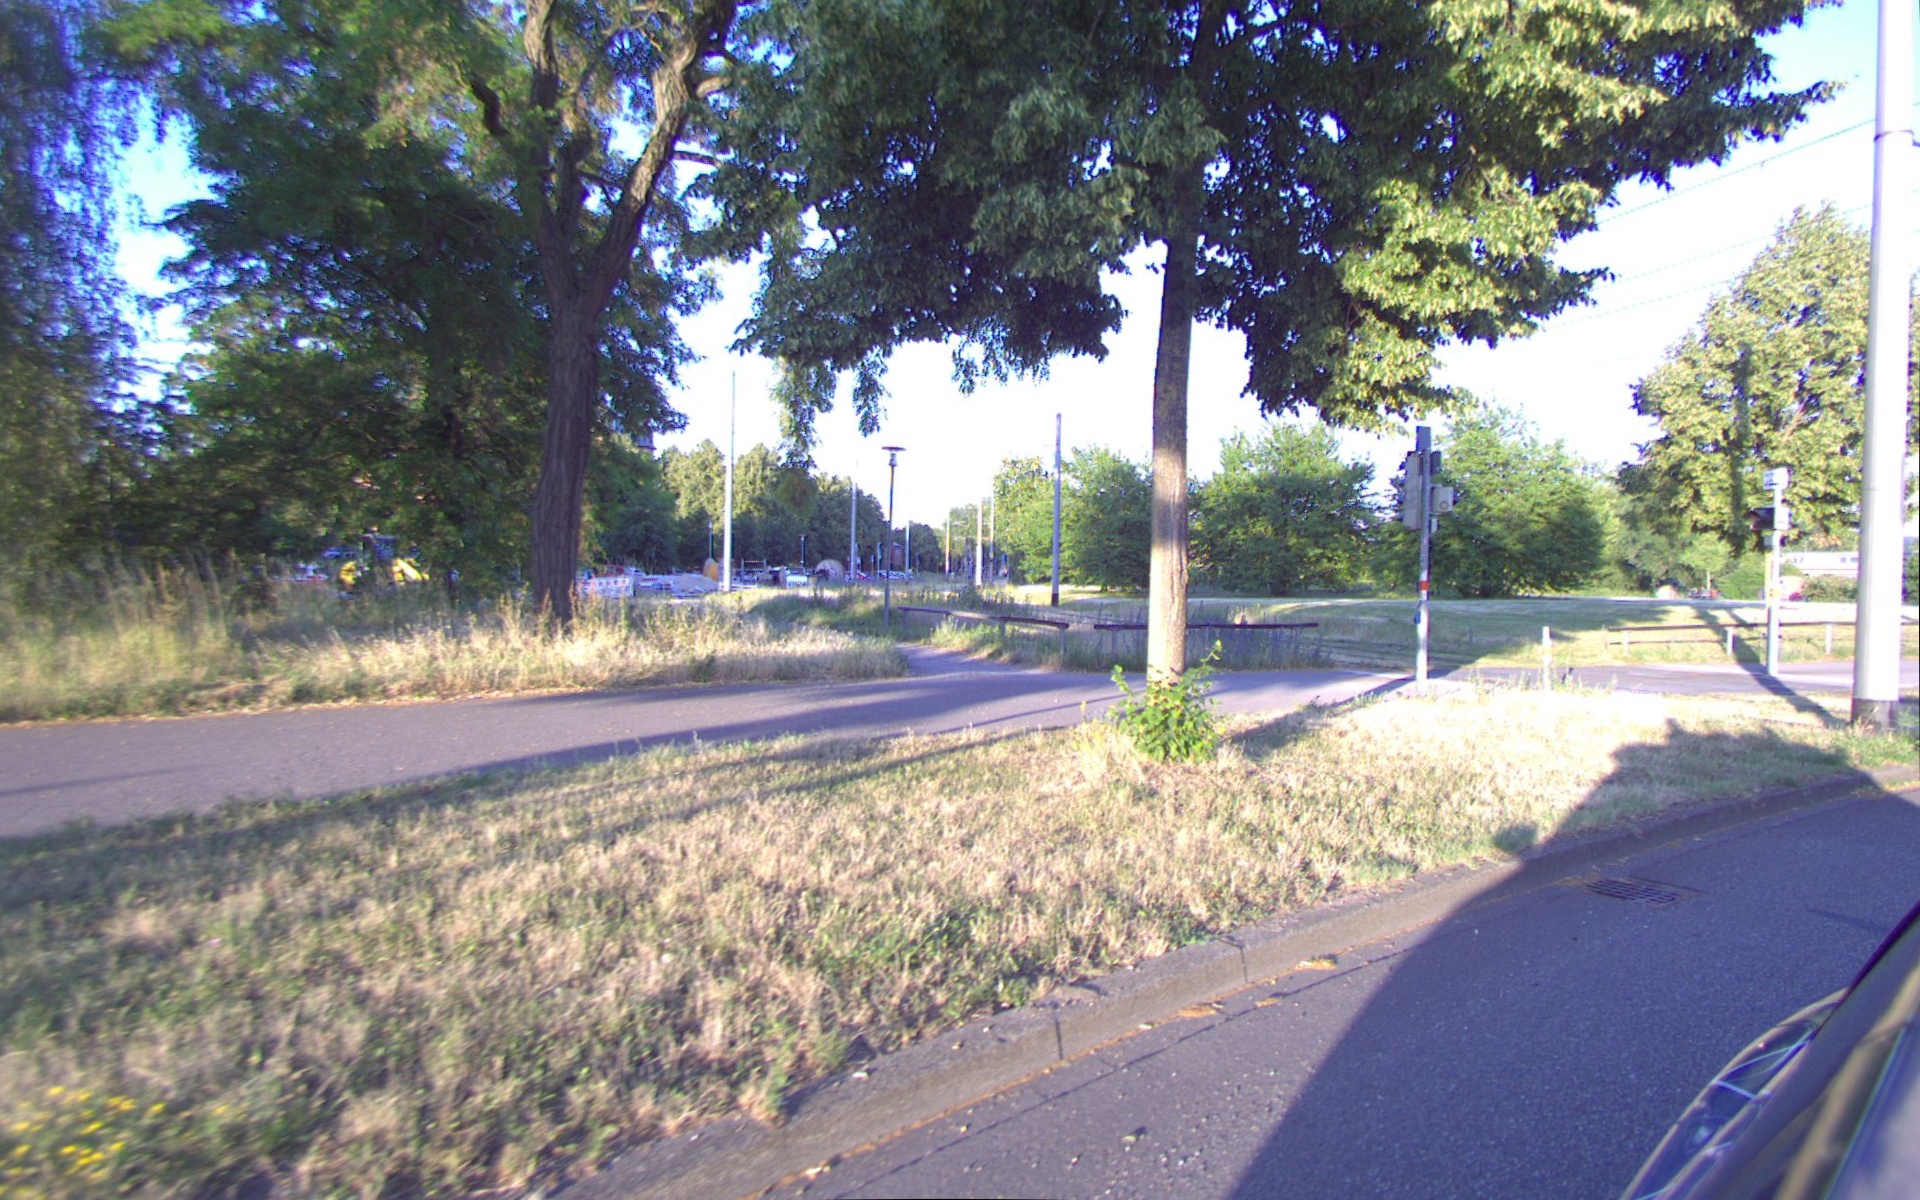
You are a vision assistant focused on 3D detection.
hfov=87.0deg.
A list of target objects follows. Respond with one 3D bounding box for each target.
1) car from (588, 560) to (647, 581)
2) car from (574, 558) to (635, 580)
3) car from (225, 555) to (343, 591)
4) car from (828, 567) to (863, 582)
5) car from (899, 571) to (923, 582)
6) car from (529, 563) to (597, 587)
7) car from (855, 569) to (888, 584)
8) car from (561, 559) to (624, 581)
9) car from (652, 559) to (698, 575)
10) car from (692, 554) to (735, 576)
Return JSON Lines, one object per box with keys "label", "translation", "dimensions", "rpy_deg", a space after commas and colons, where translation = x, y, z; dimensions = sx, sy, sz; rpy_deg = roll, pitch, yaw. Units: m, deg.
{"label": "car", "translation": [-26.511, -2.266, 78.342], "dimensions": [3.926, 1.573, 1.903], "rpy_deg": [1, 1, 2]}
{"label": "car", "translation": [-26.646, -2.330, 76.015], "dimensions": [3.926, 1.573, 1.903], "rpy_deg": [1, 1, 2]}
{"label": "car", "translation": [-29.522, -1.184, 44.287], "dimensions": [3.926, 1.463, 1.952], "rpy_deg": [1, 1, 2]}
{"label": "car", "translation": [-12.173, -2.688, 107.602], "dimensions": [3.542, 1.500, 1.711], "rpy_deg": [2, 0, -1]}
{"label": "car", "translation": [-7.416, -3.512, 153.651], "dimensions": [3.542, 1.500, 1.711], "rpy_deg": [2, 0, -1]}
{"label": "car", "translation": [-27.120, -1.731, 69.214], "dimensions": [3.926, 1.573, 1.903], "rpy_deg": [1, 1, 2]}
{"label": "car", "translation": [-10.110, -2.676, 115.530], "dimensions": [3.542, 1.500, 1.711], "rpy_deg": [2, 0, -1]}
{"label": "car", "translation": [-26.685, -2.193, 73.615], "dimensions": [3.926, 1.573, 1.903], "rpy_deg": [1, 1, 2]}
{"label": "car", "translation": [-25.416, -2.950, 90.248], "dimensions": [3.608, 1.370, 1.801], "rpy_deg": [0, 3, -1]}
{"label": "car", "translation": [-25.168, -3.563, 103.289], "dimensions": [3.926, 2.121, 1.903], "rpy_deg": [1, 1, 2]}
